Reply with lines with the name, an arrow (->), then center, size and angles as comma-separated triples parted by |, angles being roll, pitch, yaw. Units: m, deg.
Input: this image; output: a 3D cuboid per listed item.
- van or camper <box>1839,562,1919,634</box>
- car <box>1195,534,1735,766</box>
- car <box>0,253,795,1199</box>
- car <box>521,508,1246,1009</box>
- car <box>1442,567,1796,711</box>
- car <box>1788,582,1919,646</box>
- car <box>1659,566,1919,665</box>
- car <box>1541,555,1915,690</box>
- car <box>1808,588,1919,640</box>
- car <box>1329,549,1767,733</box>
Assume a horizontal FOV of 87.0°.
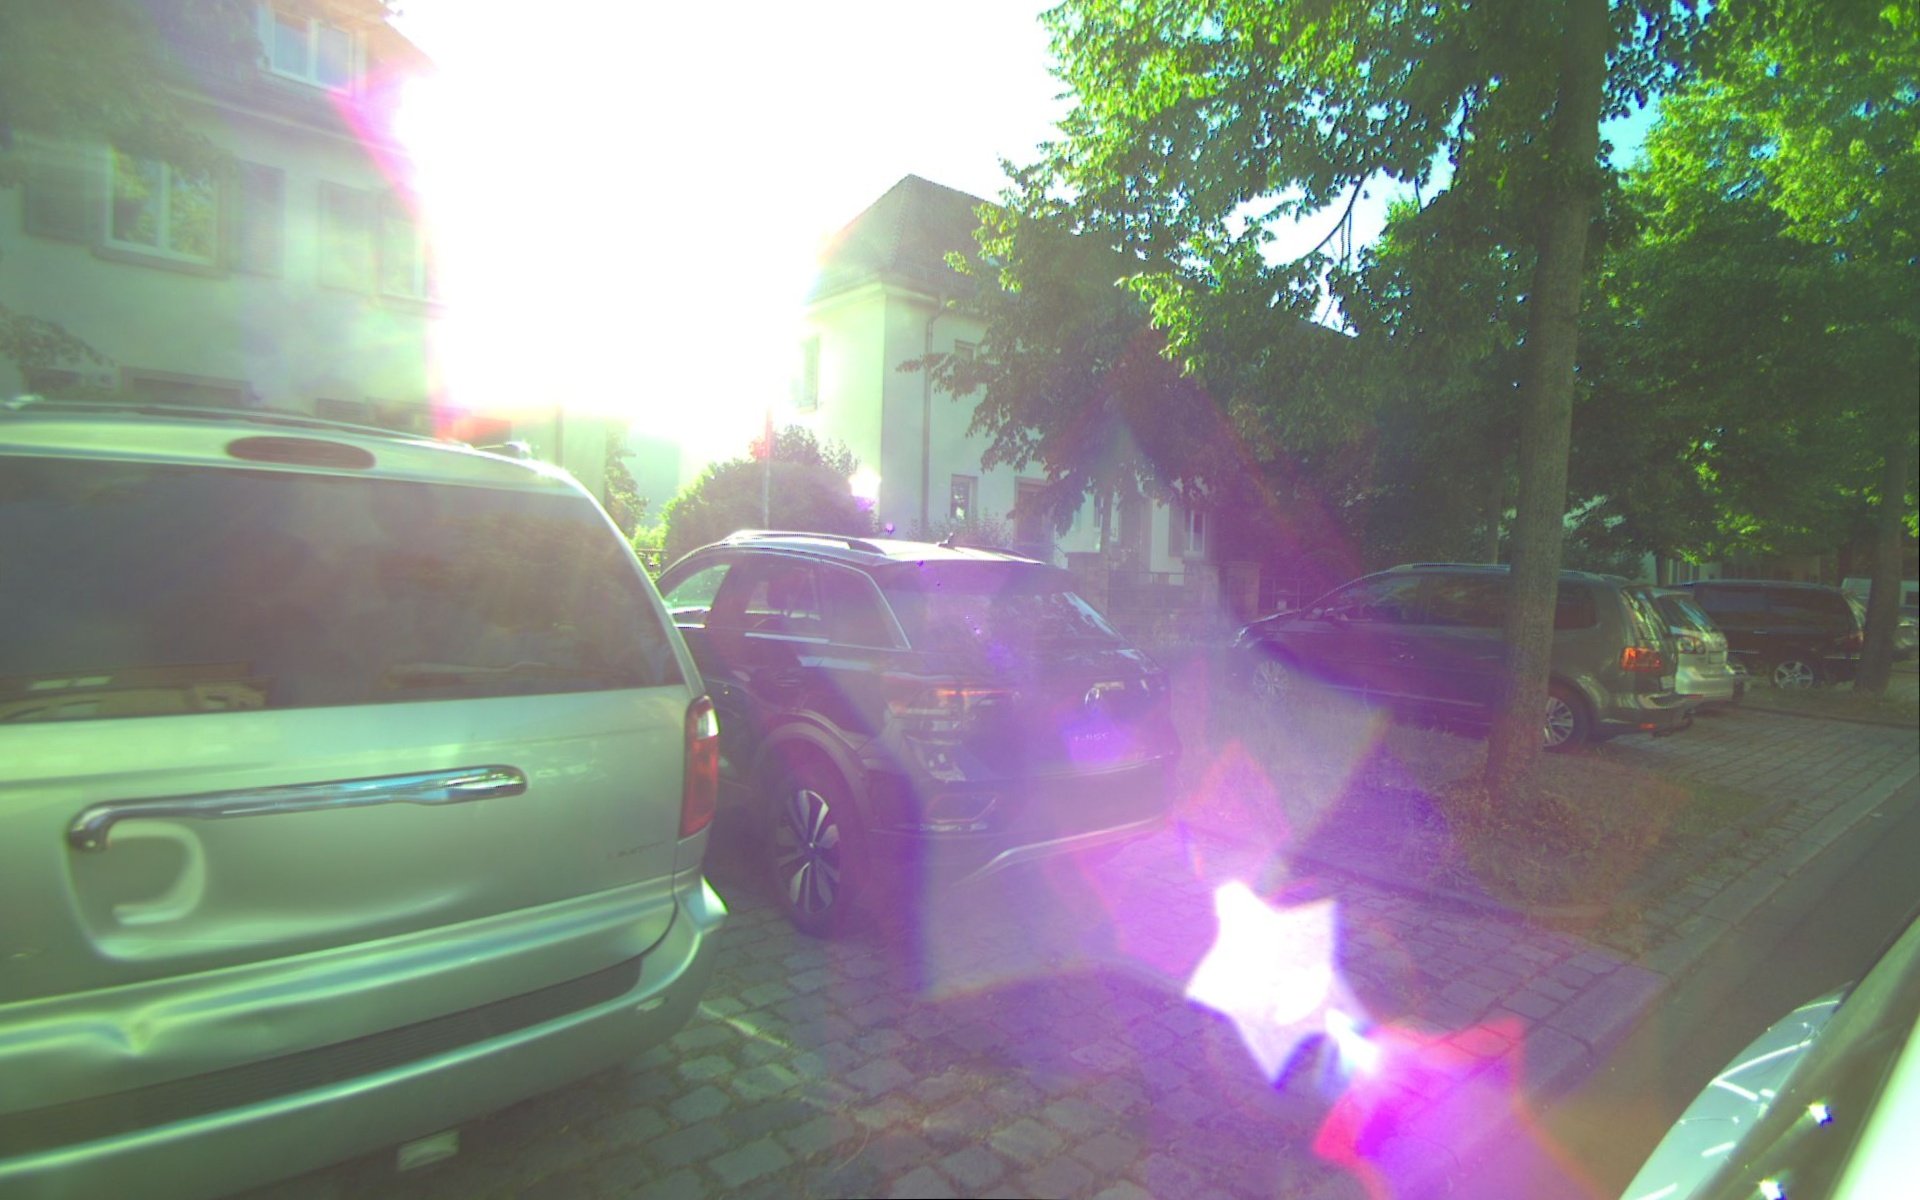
van or camper -> 37.080, 0.041, 38.030 | 2.124, 2.546, 5.735 | 1, 5, -40
car -> 4.906, 0.298, 10.355 | 4.543, 1.653, 1.783 | 7, 5, 44
car -> -2.543, 0.201, 3.553 | 1.800, 1.730, 4.633 | 1, 4, -38
car -> -0.784, 0.374, 5.265 | 1.663, 1.494, 4.080 | 2, 4, -39
car -> 8.940, 0.421, 13.991 | 1.561, 1.470, 3.732 | 1, 5, -40
car -> 27.227, 0.474, 29.225 | 1.862, 1.557, 4.848 | 0, 5, -42
car -> 18.109, 0.257, 21.902 | 1.842, 1.653, 4.487 | 0, 5, -41
car -> 12.713, 0.259, 17.059 | 1.872, 1.697, 4.597 | 1, 5, -38
car -> 31.159, 0.522, 33.458 | 1.795, 1.452, 4.488 | 1, 5, -40
car -> 6.989, 0.345, 12.495 | 1.659, 1.653, 4.288 | 1, 5, -37
